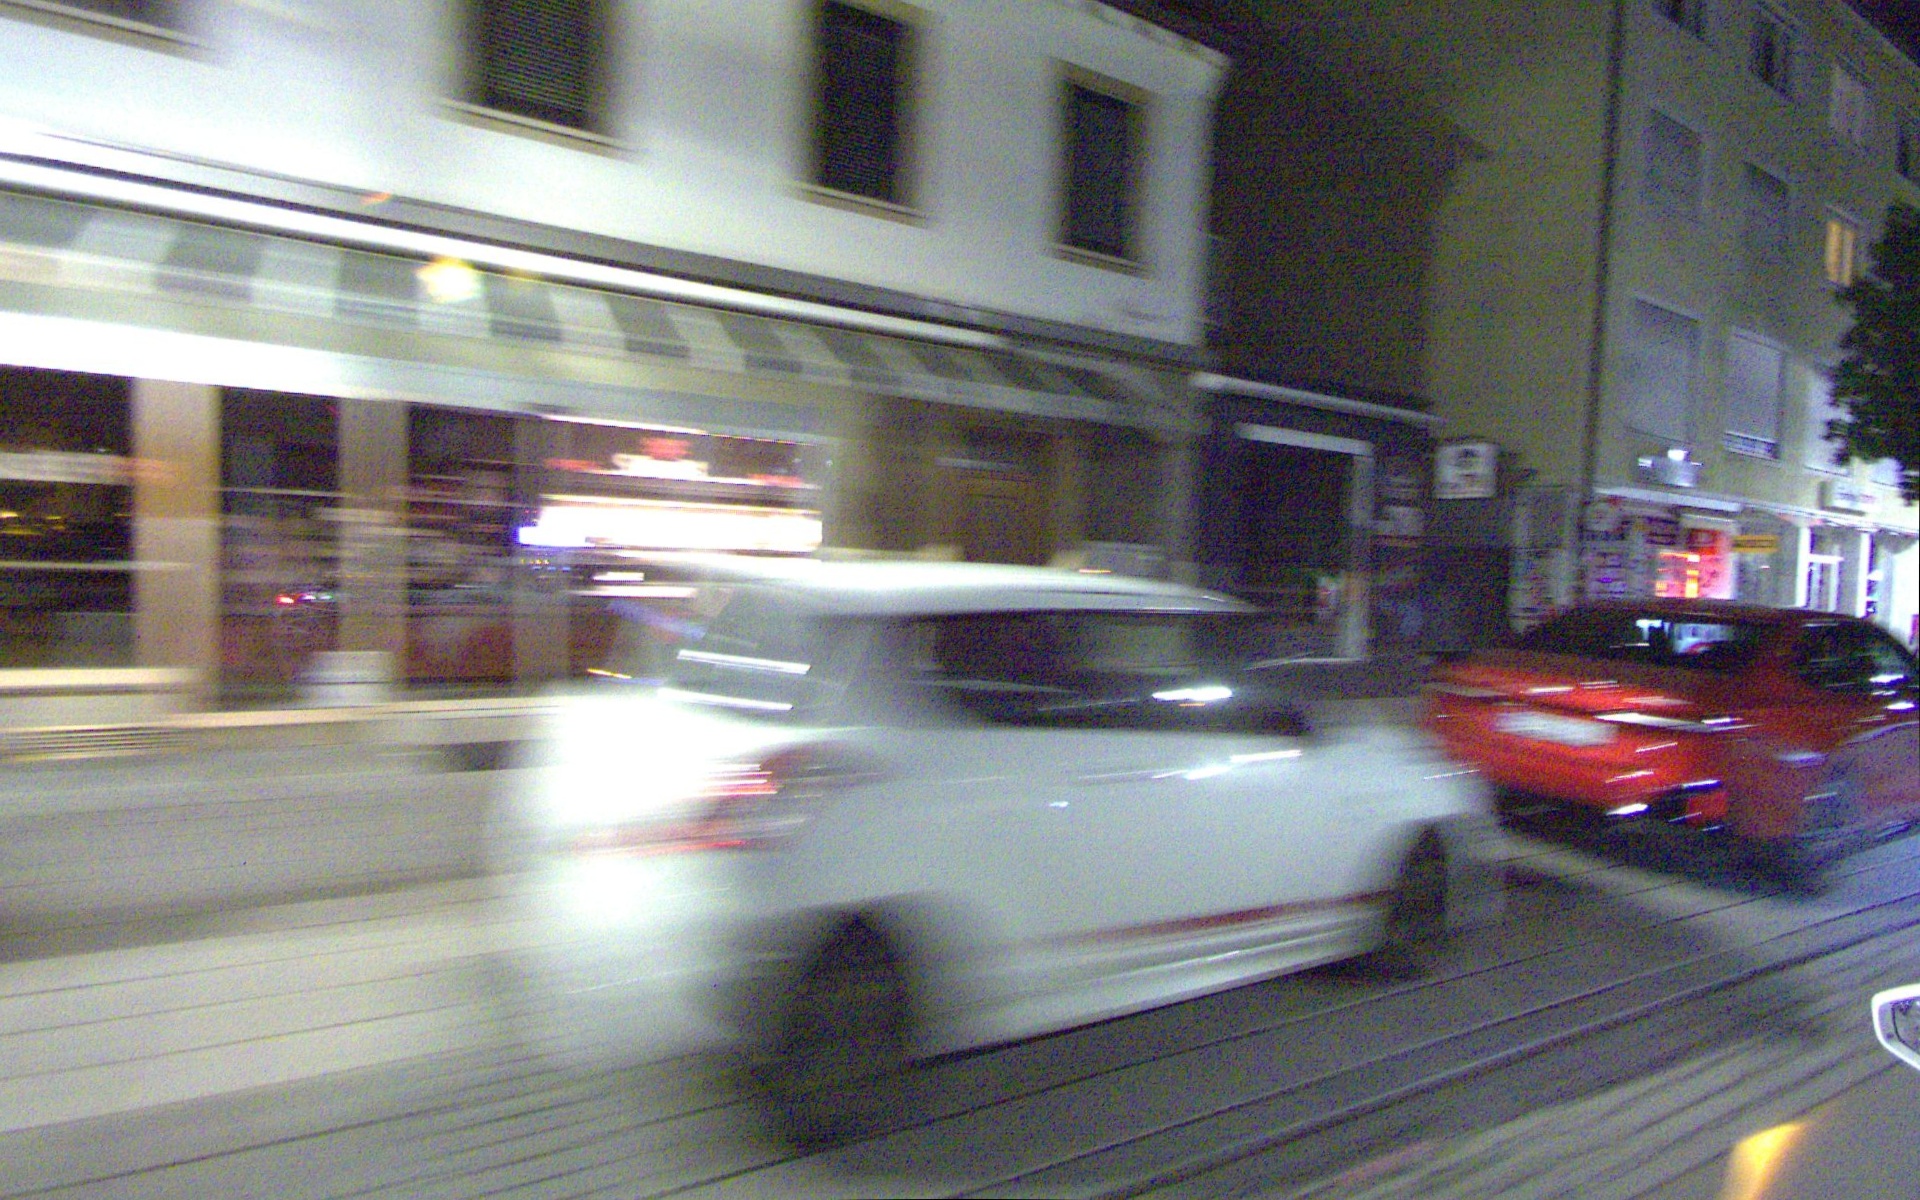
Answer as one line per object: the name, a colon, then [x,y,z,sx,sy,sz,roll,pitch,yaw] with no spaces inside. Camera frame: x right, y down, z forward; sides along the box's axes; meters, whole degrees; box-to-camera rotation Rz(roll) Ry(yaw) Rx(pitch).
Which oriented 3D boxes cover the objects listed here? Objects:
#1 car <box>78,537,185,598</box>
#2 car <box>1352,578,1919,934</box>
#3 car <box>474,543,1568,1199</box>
car: [-21.661,-0.895,26.401,1.592,1.410,3.648,3,2,-31]
car: [5.135,0.746,6.714,4.950,1.508,2.009,1,4,-31]
car: [0.352,0.629,3.799,3.803,1.496,1.719,1,2,-31]
